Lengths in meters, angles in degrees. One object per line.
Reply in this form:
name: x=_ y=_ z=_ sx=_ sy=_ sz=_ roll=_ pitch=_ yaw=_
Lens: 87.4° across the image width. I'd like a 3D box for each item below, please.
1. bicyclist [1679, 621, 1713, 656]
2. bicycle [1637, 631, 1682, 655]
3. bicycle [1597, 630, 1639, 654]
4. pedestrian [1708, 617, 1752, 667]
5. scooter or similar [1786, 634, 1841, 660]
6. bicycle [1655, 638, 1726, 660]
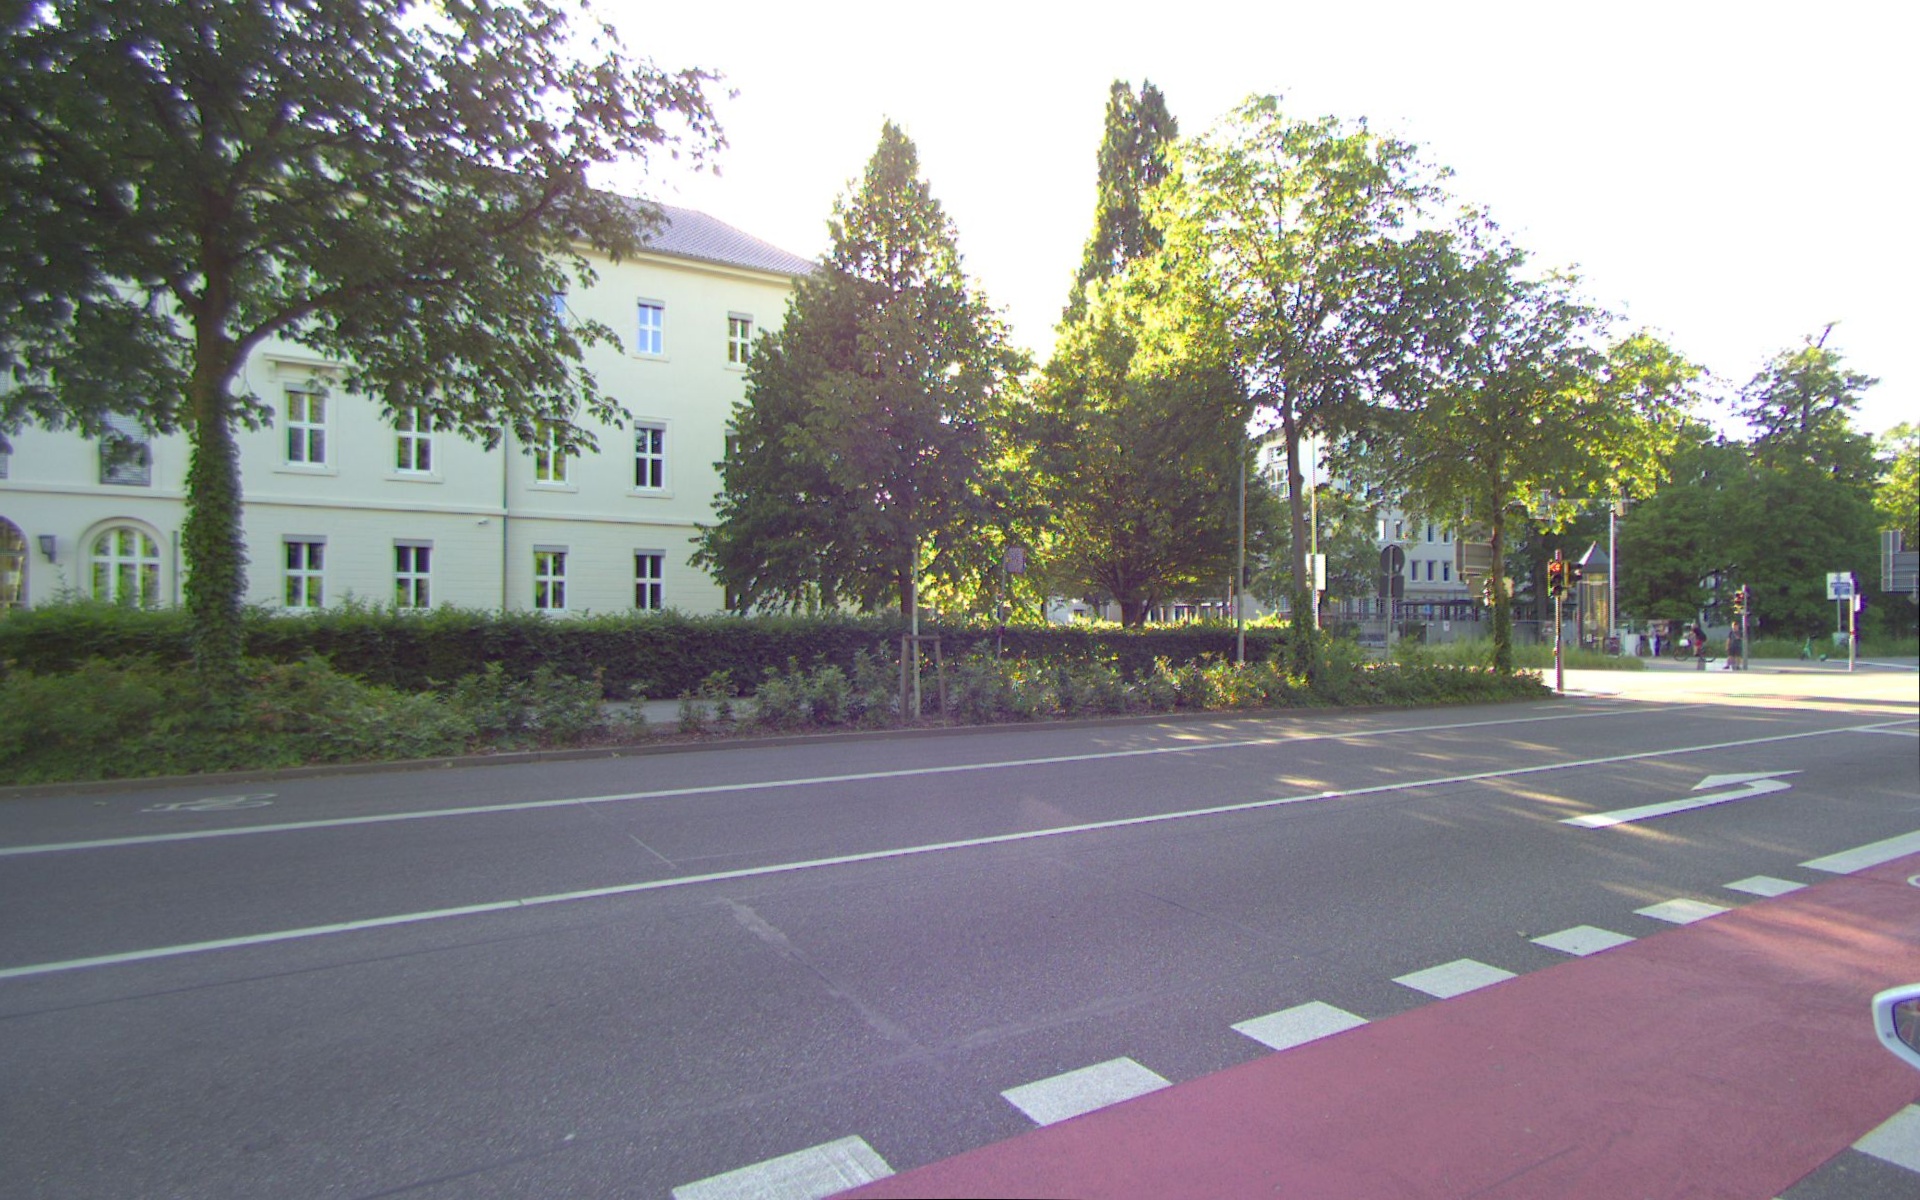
bicyclist: x=34.438 y=1.786 z=46.997 sx=0.867 sy=1.627 sz=0.970 roll=1 pitch=-2 yaw=-29
bicycle: x=34.945 y=2.144 z=50.230 sx=0.288 sy=1.163 sz=1.849 roll=1 pitch=0 yaw=-36
bicycle: x=34.186 y=2.190 z=52.219 sx=0.437 sy=1.163 sz=1.856 roll=1 pitch=0 yaw=-25
pedestrian: x=31.957 y=1.740 z=41.702 sx=1.175 sy=2.040 sz=0.992 roll=1 pitch=0 yaw=-25
scooter or similar: x=39.601 y=2.160 z=46.636 sx=1.882 sy=1.139 sz=0.713 roll=1 pitch=0 yaw=3
bicycle: x=34.310 y=2.292 z=47.220 sx=0.574 sy=1.002 sz=2.694 roll=1 pitch=-2 yaw=-29
